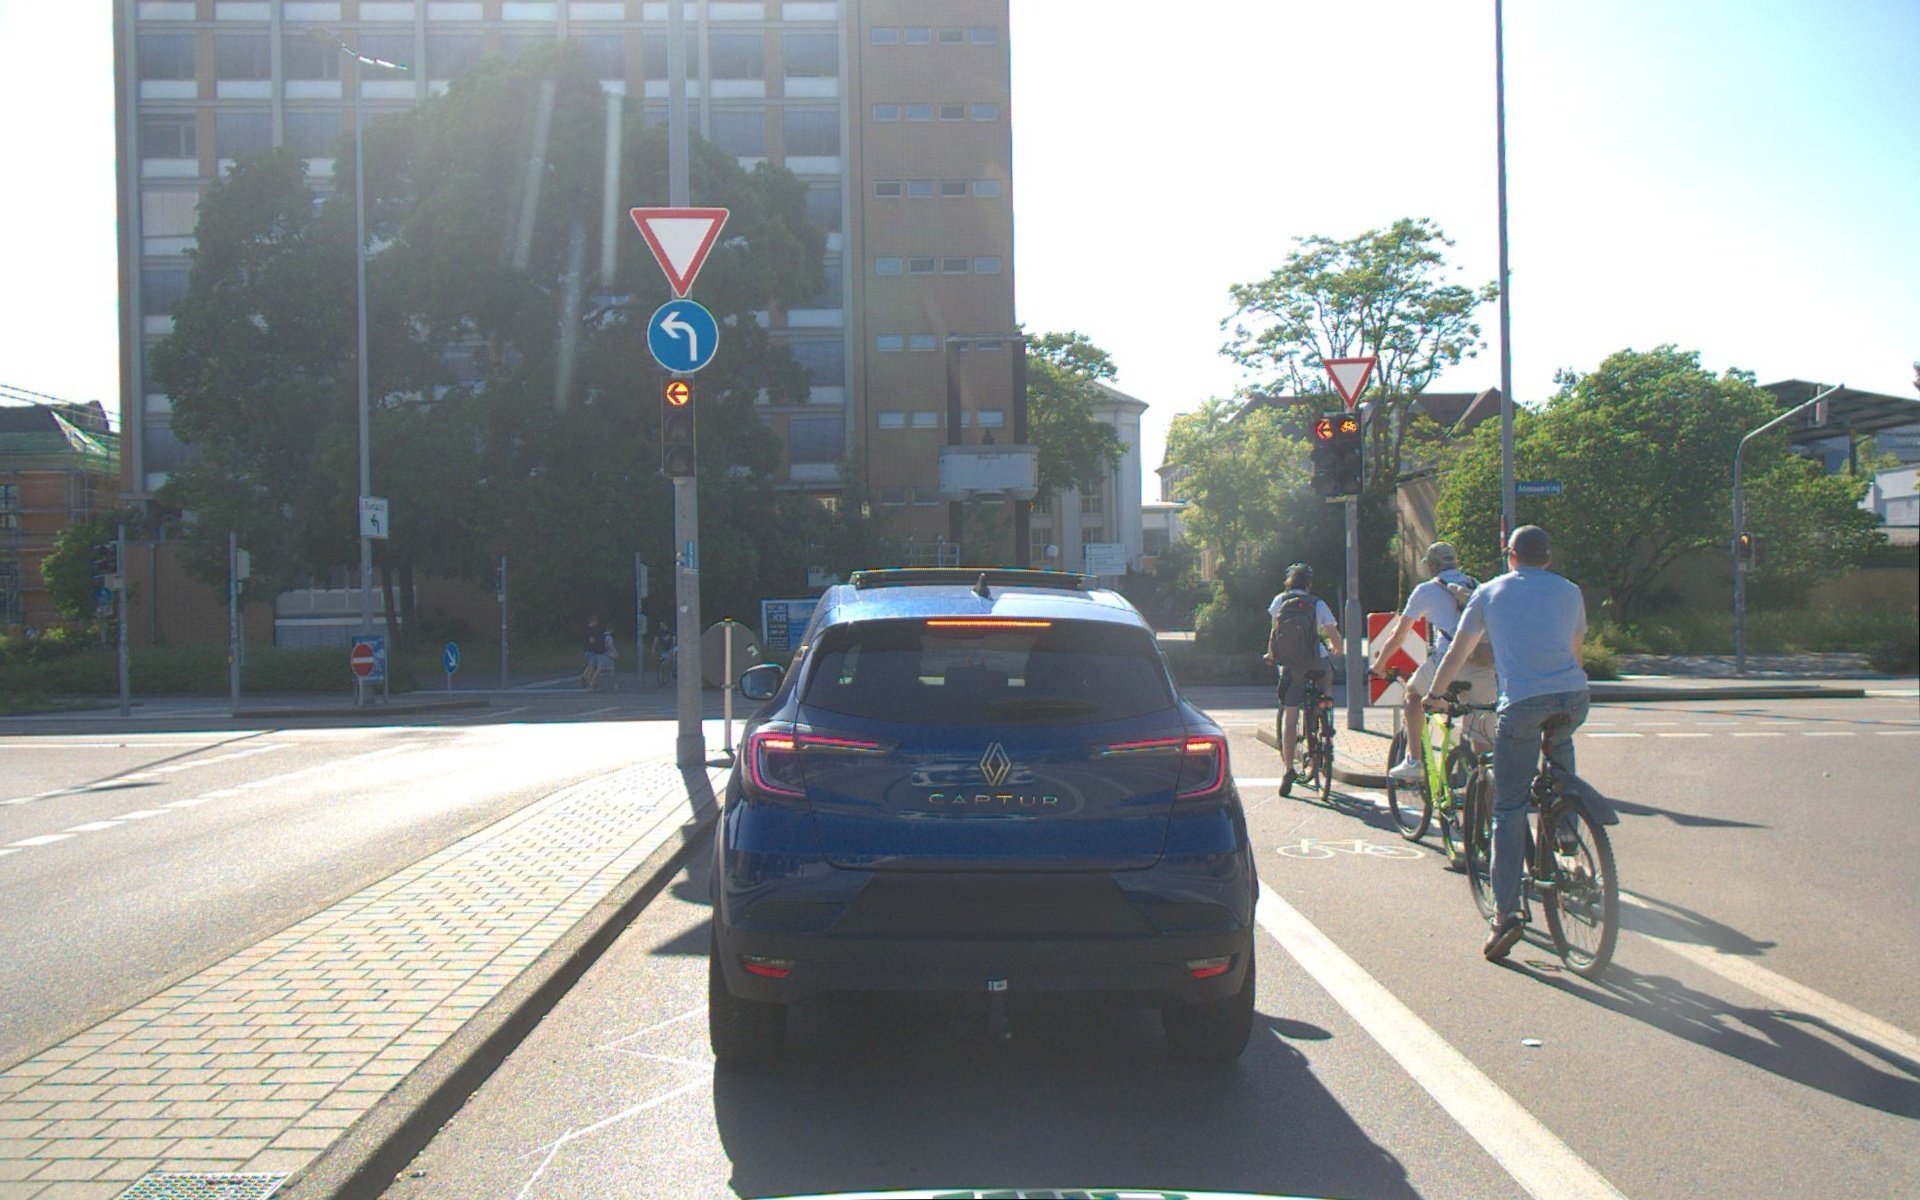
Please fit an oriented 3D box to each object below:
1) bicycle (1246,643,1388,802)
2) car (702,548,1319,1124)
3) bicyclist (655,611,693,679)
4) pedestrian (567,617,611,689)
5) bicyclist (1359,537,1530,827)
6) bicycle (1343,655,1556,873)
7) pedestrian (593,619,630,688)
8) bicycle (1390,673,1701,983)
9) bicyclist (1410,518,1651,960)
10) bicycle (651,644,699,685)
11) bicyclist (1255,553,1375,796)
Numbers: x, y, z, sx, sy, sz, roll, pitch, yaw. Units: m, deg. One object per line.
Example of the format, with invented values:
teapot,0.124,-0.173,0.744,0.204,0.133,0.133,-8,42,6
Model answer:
bicycle,2.757,0.911,12.968,0.675,1.108,1.922,0,0,-1
car,0.062,0.665,6.641,1.753,1.613,3.912,0,0,-3
bicyclist,-7.544,1.182,43.663,0.739,1.746,0.999,-1,0,5
pedestrian,-9.902,1.401,44.128,0.796,1.895,0.910,-1,0,13
bicyclist,2.850,0.460,9.828,0.664,1.622,1.142,0,0,-1
bicycle,2.853,0.912,9.851,0.675,1.108,1.922,0,0,-1
pedestrian,-9.155,1.397,43.441,0.666,1.761,0.761,-1,0,13
bicycle,2.511,0.922,7.347,0.675,1.108,1.922,0,0,-1
bicyclist,2.510,0.573,7.397,0.669,1.822,1.142,0,0,-1
bicycle,-7.525,1.701,43.765,0.739,1.002,2.095,-1,0,5
bicyclist,2.766,0.563,12.991,0.685,1.822,1.142,0,0,-1
